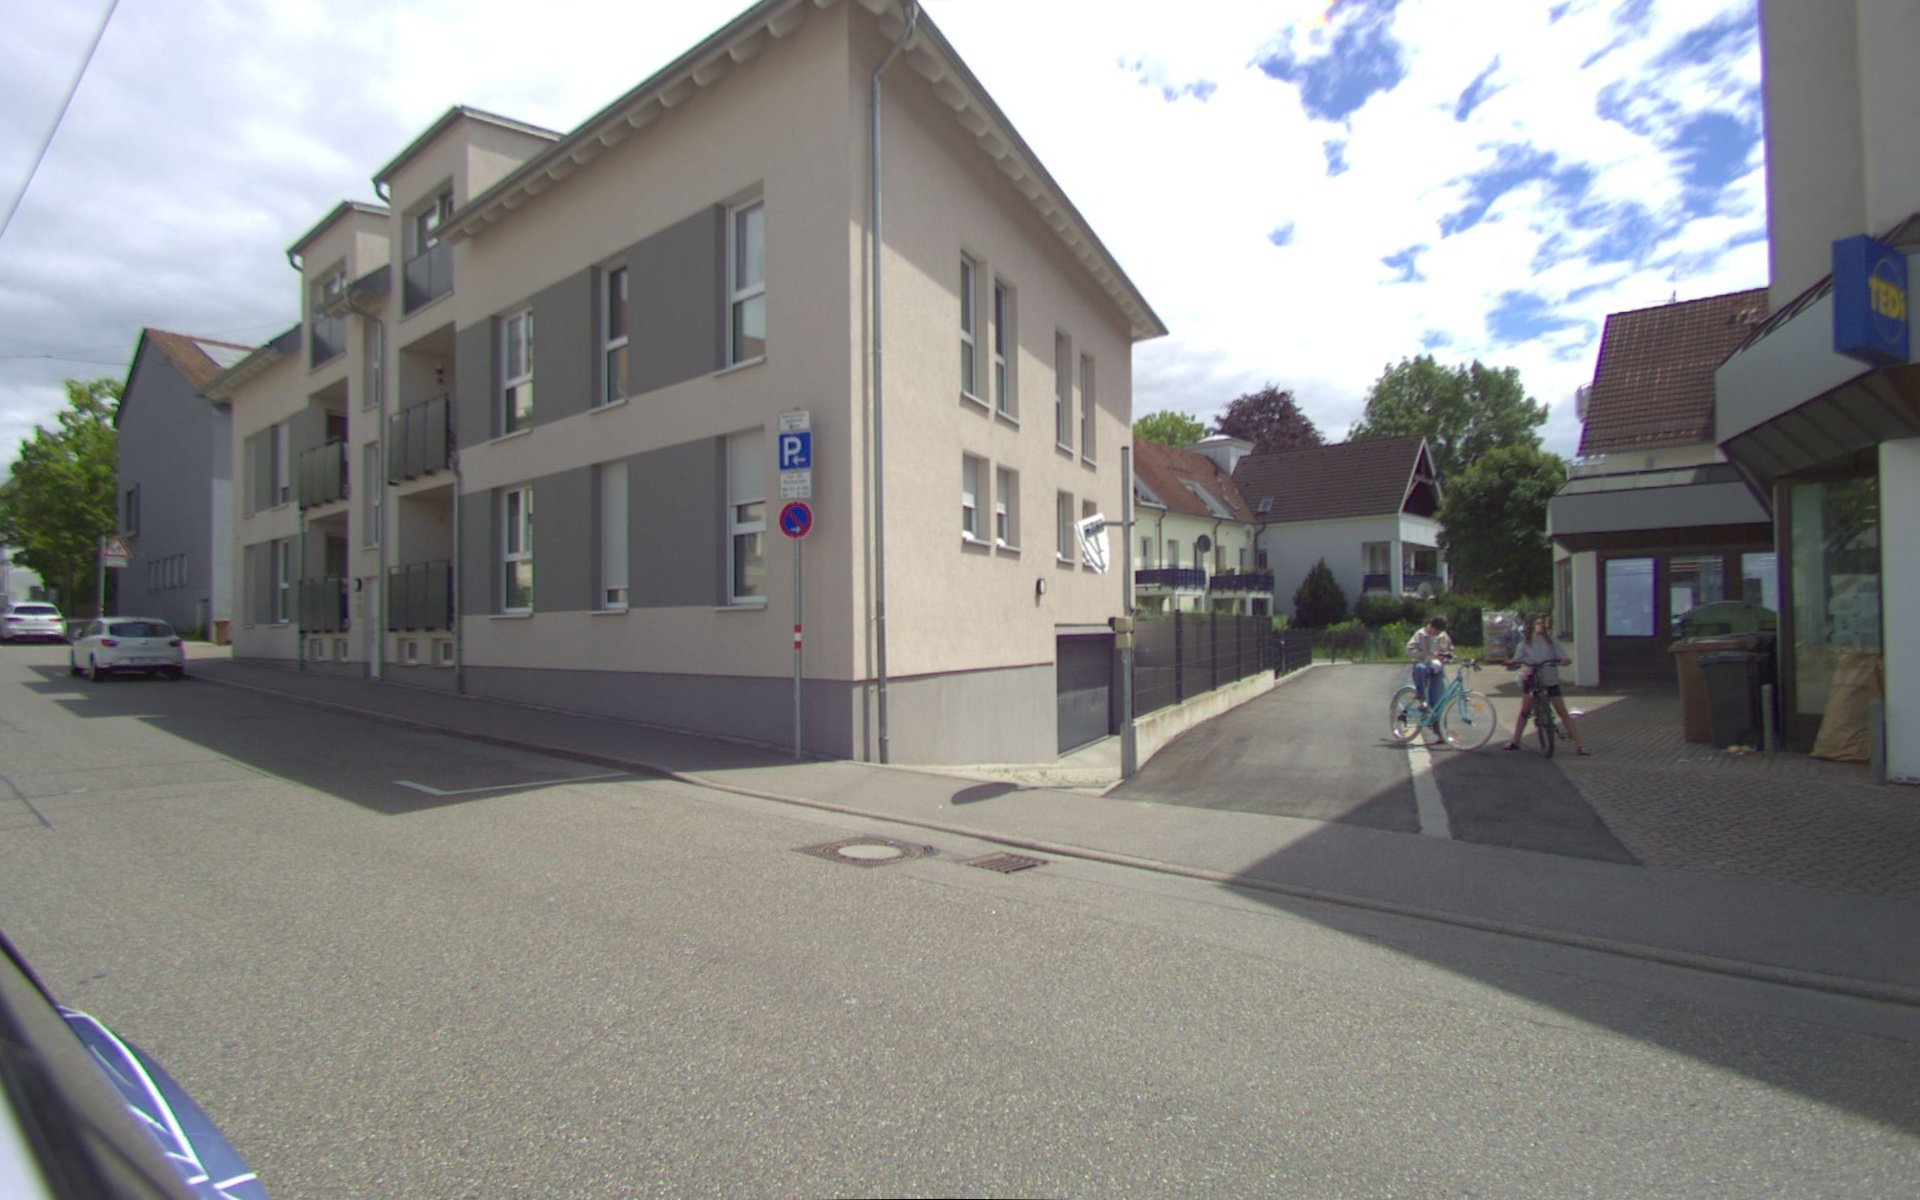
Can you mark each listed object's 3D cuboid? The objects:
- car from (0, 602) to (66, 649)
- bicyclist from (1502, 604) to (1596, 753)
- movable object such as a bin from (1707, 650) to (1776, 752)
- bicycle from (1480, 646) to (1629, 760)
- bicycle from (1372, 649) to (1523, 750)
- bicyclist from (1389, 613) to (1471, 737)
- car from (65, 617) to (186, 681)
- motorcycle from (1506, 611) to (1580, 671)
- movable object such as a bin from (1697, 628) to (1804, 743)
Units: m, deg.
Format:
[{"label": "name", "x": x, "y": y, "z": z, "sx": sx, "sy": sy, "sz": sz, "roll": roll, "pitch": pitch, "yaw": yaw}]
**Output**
[{"label": "car", "x": -32.953, "y": 0.884, "z": 35.645, "sx": 4.066, "sy": 1.499, "sz": 1.714, "roll": 1, "pitch": -1, "yaw": 42}, {"label": "bicyclist", "x": 5.662, "y": 0.749, "z": 9.749, "sx": 0.582, "sy": 1.376, "sz": 0.423, "roll": -3, "pitch": -3, "yaw": 9}, {"label": "movable object such as a bin", "x": 7.423, "y": 0.948, "z": 9.609, "sx": 0.443, "sy": 0.918, "sz": 0.403, "roll": -5, "pitch": -3, "yaw": 41}, {"label": "bicycle", "x": 5.662, "y": 0.948, "z": 9.749, "sx": 0.548, "sy": 0.961, "sz": 1.688, "roll": -2, "pitch": -2, "yaw": 6}, {"label": "bicycle", "x": 4.938, "y": 0.979, "z": 10.374, "sx": 0.451, "sy": 0.924, "sz": 1.593, "roll": -1, "pitch": -2, "yaw": -13}, {"label": "bicyclist", "x": 4.892, "y": 0.763, "z": 10.537, "sx": 0.631, "sy": 1.251, "sz": 0.428, "roll": 0, "pitch": -1, "yaw": -16}, {"label": "car", "x": -19.523, "y": 1.108, "z": 23.633, "sx": 3.473, "sy": 1.340, "sz": 1.643, "roll": 0, "pitch": -2, "yaw": 42}, {"label": "motorcycle", "x": 15.637, "y": 1.066, "z": 27.095, "sx": 0.860, "sy": 1.530, "sz": 3.567, "roll": -2, "pitch": -2, "yaw": 44}, {"label": "movable object such as a bin", "x": 7.871, "y": 0.841, "z": 10.076, "sx": 0.737, "sy": 1.073, "sz": 0.677, "roll": -5, "pitch": -3, "yaw": 41}]
